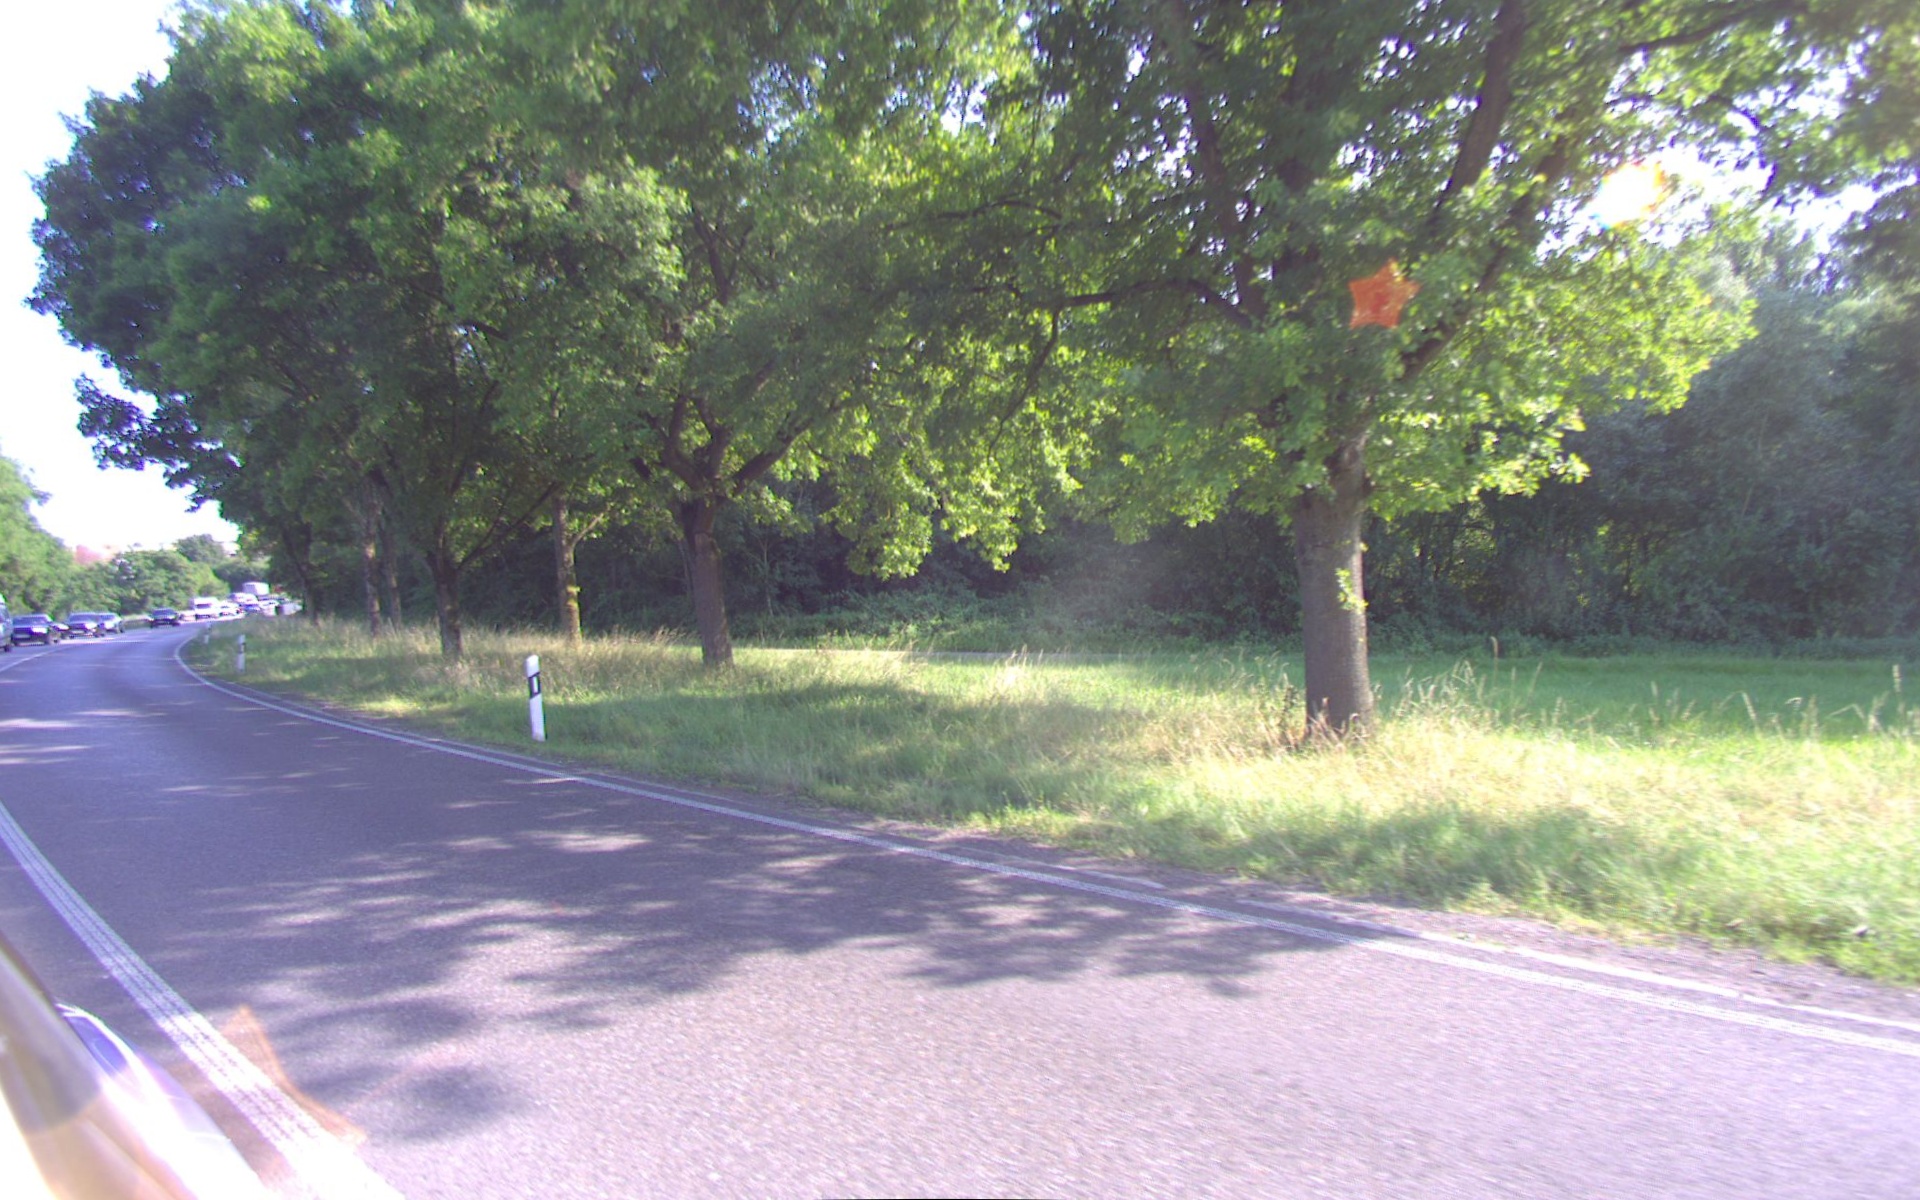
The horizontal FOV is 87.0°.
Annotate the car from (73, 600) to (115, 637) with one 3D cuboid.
[{"bbox_3d":[-60.215,1.263,70.445,2.057,2.435,5.152,-1,0,-39],"label":"car"}]

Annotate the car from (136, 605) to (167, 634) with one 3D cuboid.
[{"bbox_3d":[-71.819,1.712,89.845,2.057,2.435,5.152,-1,0,-39],"label":"car"}]

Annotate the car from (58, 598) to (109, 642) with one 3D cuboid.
[{"bbox_3d":[-51.598,1.156,59.665,2.057,2.435,5.152,-1,0,-39],"label":"car"}]

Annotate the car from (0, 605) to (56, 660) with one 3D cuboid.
[{"bbox_3d":[-44.439,1.482,47.801,2.056,2.435,5.154,-1,0,-36],"label":"car"}]

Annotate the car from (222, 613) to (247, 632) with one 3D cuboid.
[{"bbox_3d":[-100.829,3.078,140.700,2.054,2.435,5.159,-1,0,-28],"label":"car"}]

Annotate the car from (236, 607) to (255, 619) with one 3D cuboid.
[{"bbox_3d":[-95.526,1.722,135.333,1.871,1.644,4.262,-1,0,-34],"label":"car"}]

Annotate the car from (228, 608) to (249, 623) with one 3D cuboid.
[{"bbox_3d":[-117.762,2.482,165.285,2.054,2.435,5.159,-1,0,-28],"label":"car"}]

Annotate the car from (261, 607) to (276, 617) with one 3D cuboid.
[{"bbox_3d":[-119.099,2.109,174.234,1.864,1.644,4.264,-1,0,-31],"label":"car"}]

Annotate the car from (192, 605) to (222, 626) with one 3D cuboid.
[{"bbox_3d":[-89.491,1.846,120.333,2.054,2.435,5.159,-1,0,-28],"label":"car"}]

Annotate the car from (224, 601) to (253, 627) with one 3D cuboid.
[{"bbox_3d":[-68.065,1.299,95.556,2.055,2.435,5.155,-1,0,-34],"label":"car"}]

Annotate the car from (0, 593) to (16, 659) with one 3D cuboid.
[{"bbox_3d":[-36.684,0.974,37.349,2.056,2.435,5.154,-1,0,-36],"label":"car"}]
